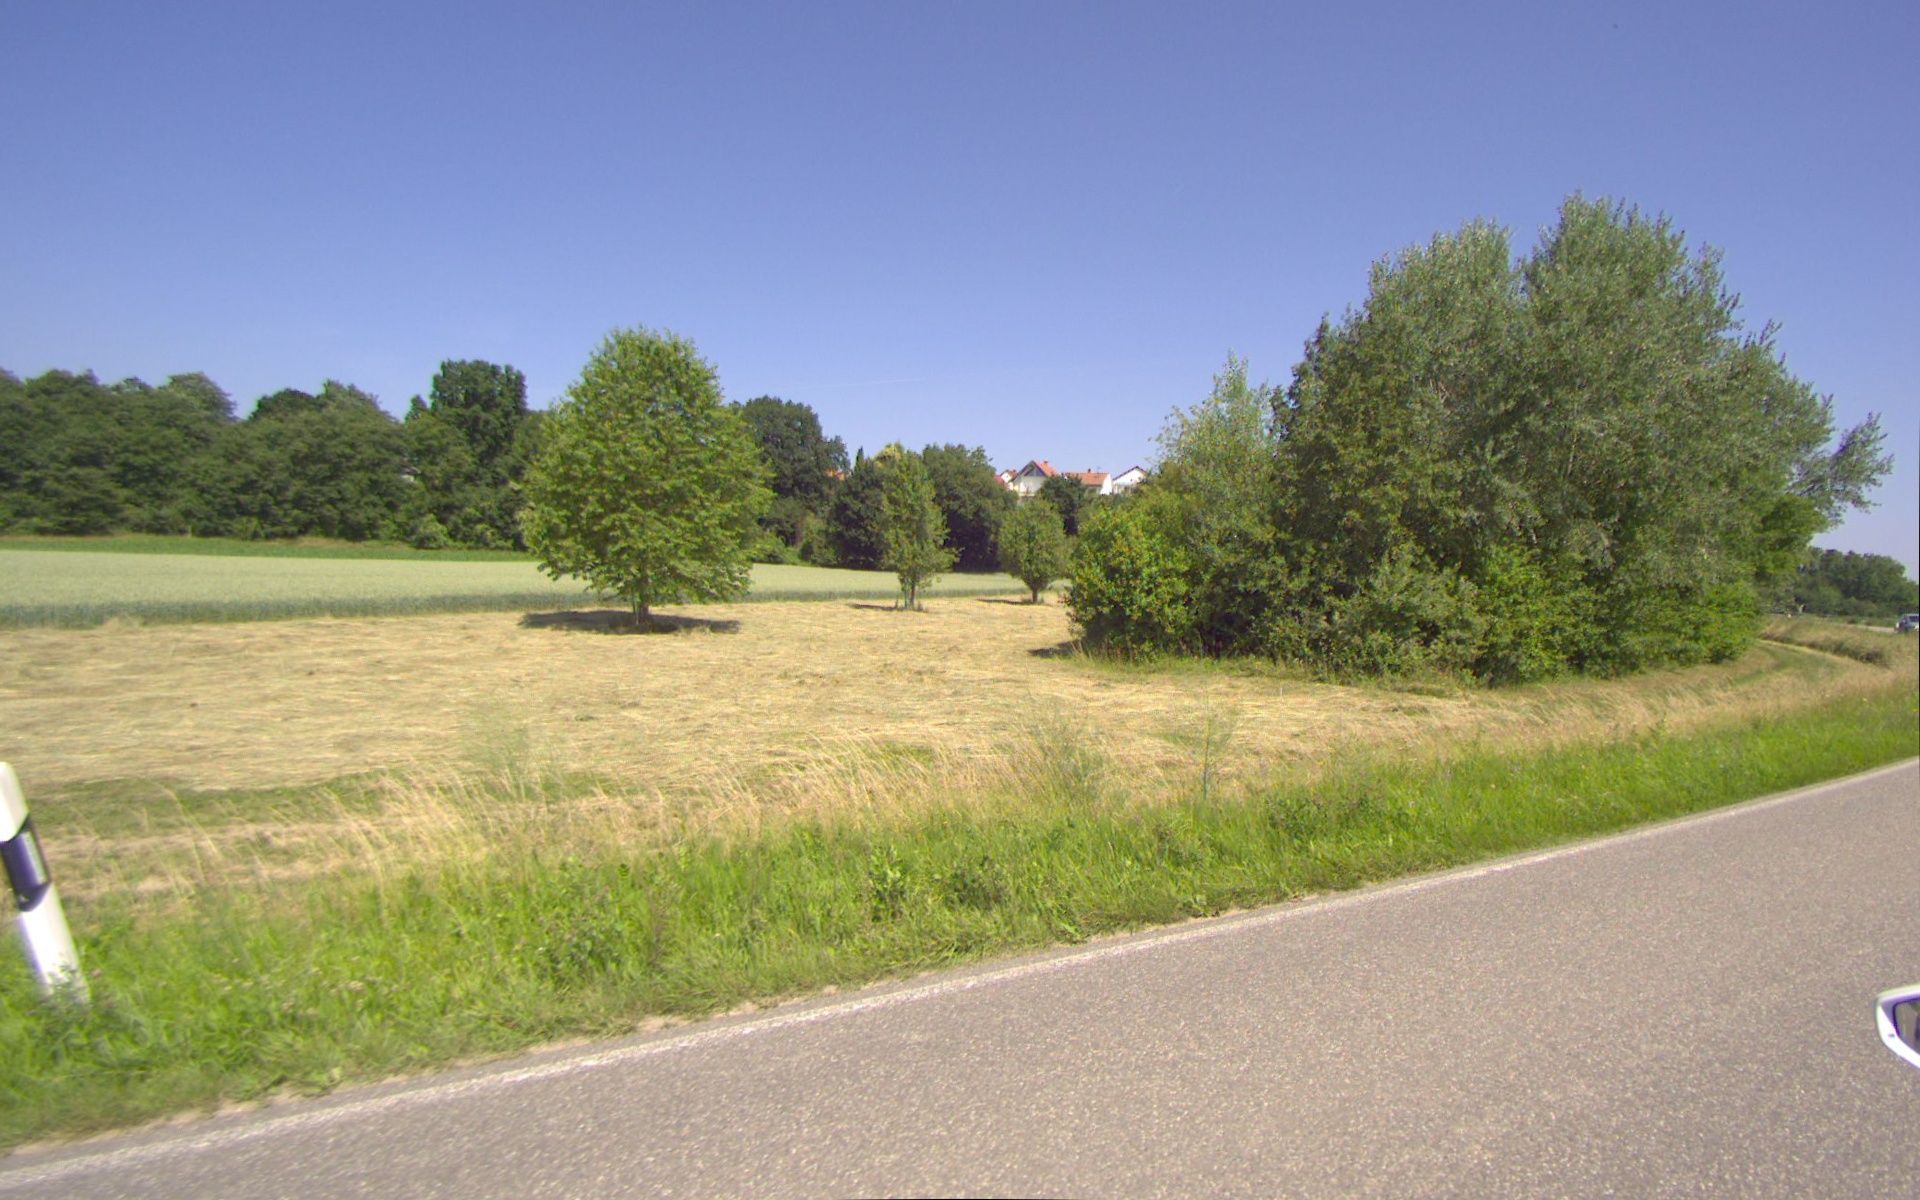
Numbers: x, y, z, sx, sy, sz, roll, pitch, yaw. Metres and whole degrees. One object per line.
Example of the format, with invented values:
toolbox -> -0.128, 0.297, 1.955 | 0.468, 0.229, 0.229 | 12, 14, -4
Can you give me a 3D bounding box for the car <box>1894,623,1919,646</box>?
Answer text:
car -> 61.027, 2.180, 63.864 | 1.759, 1.446, 4.049 | -1, -1, 33
